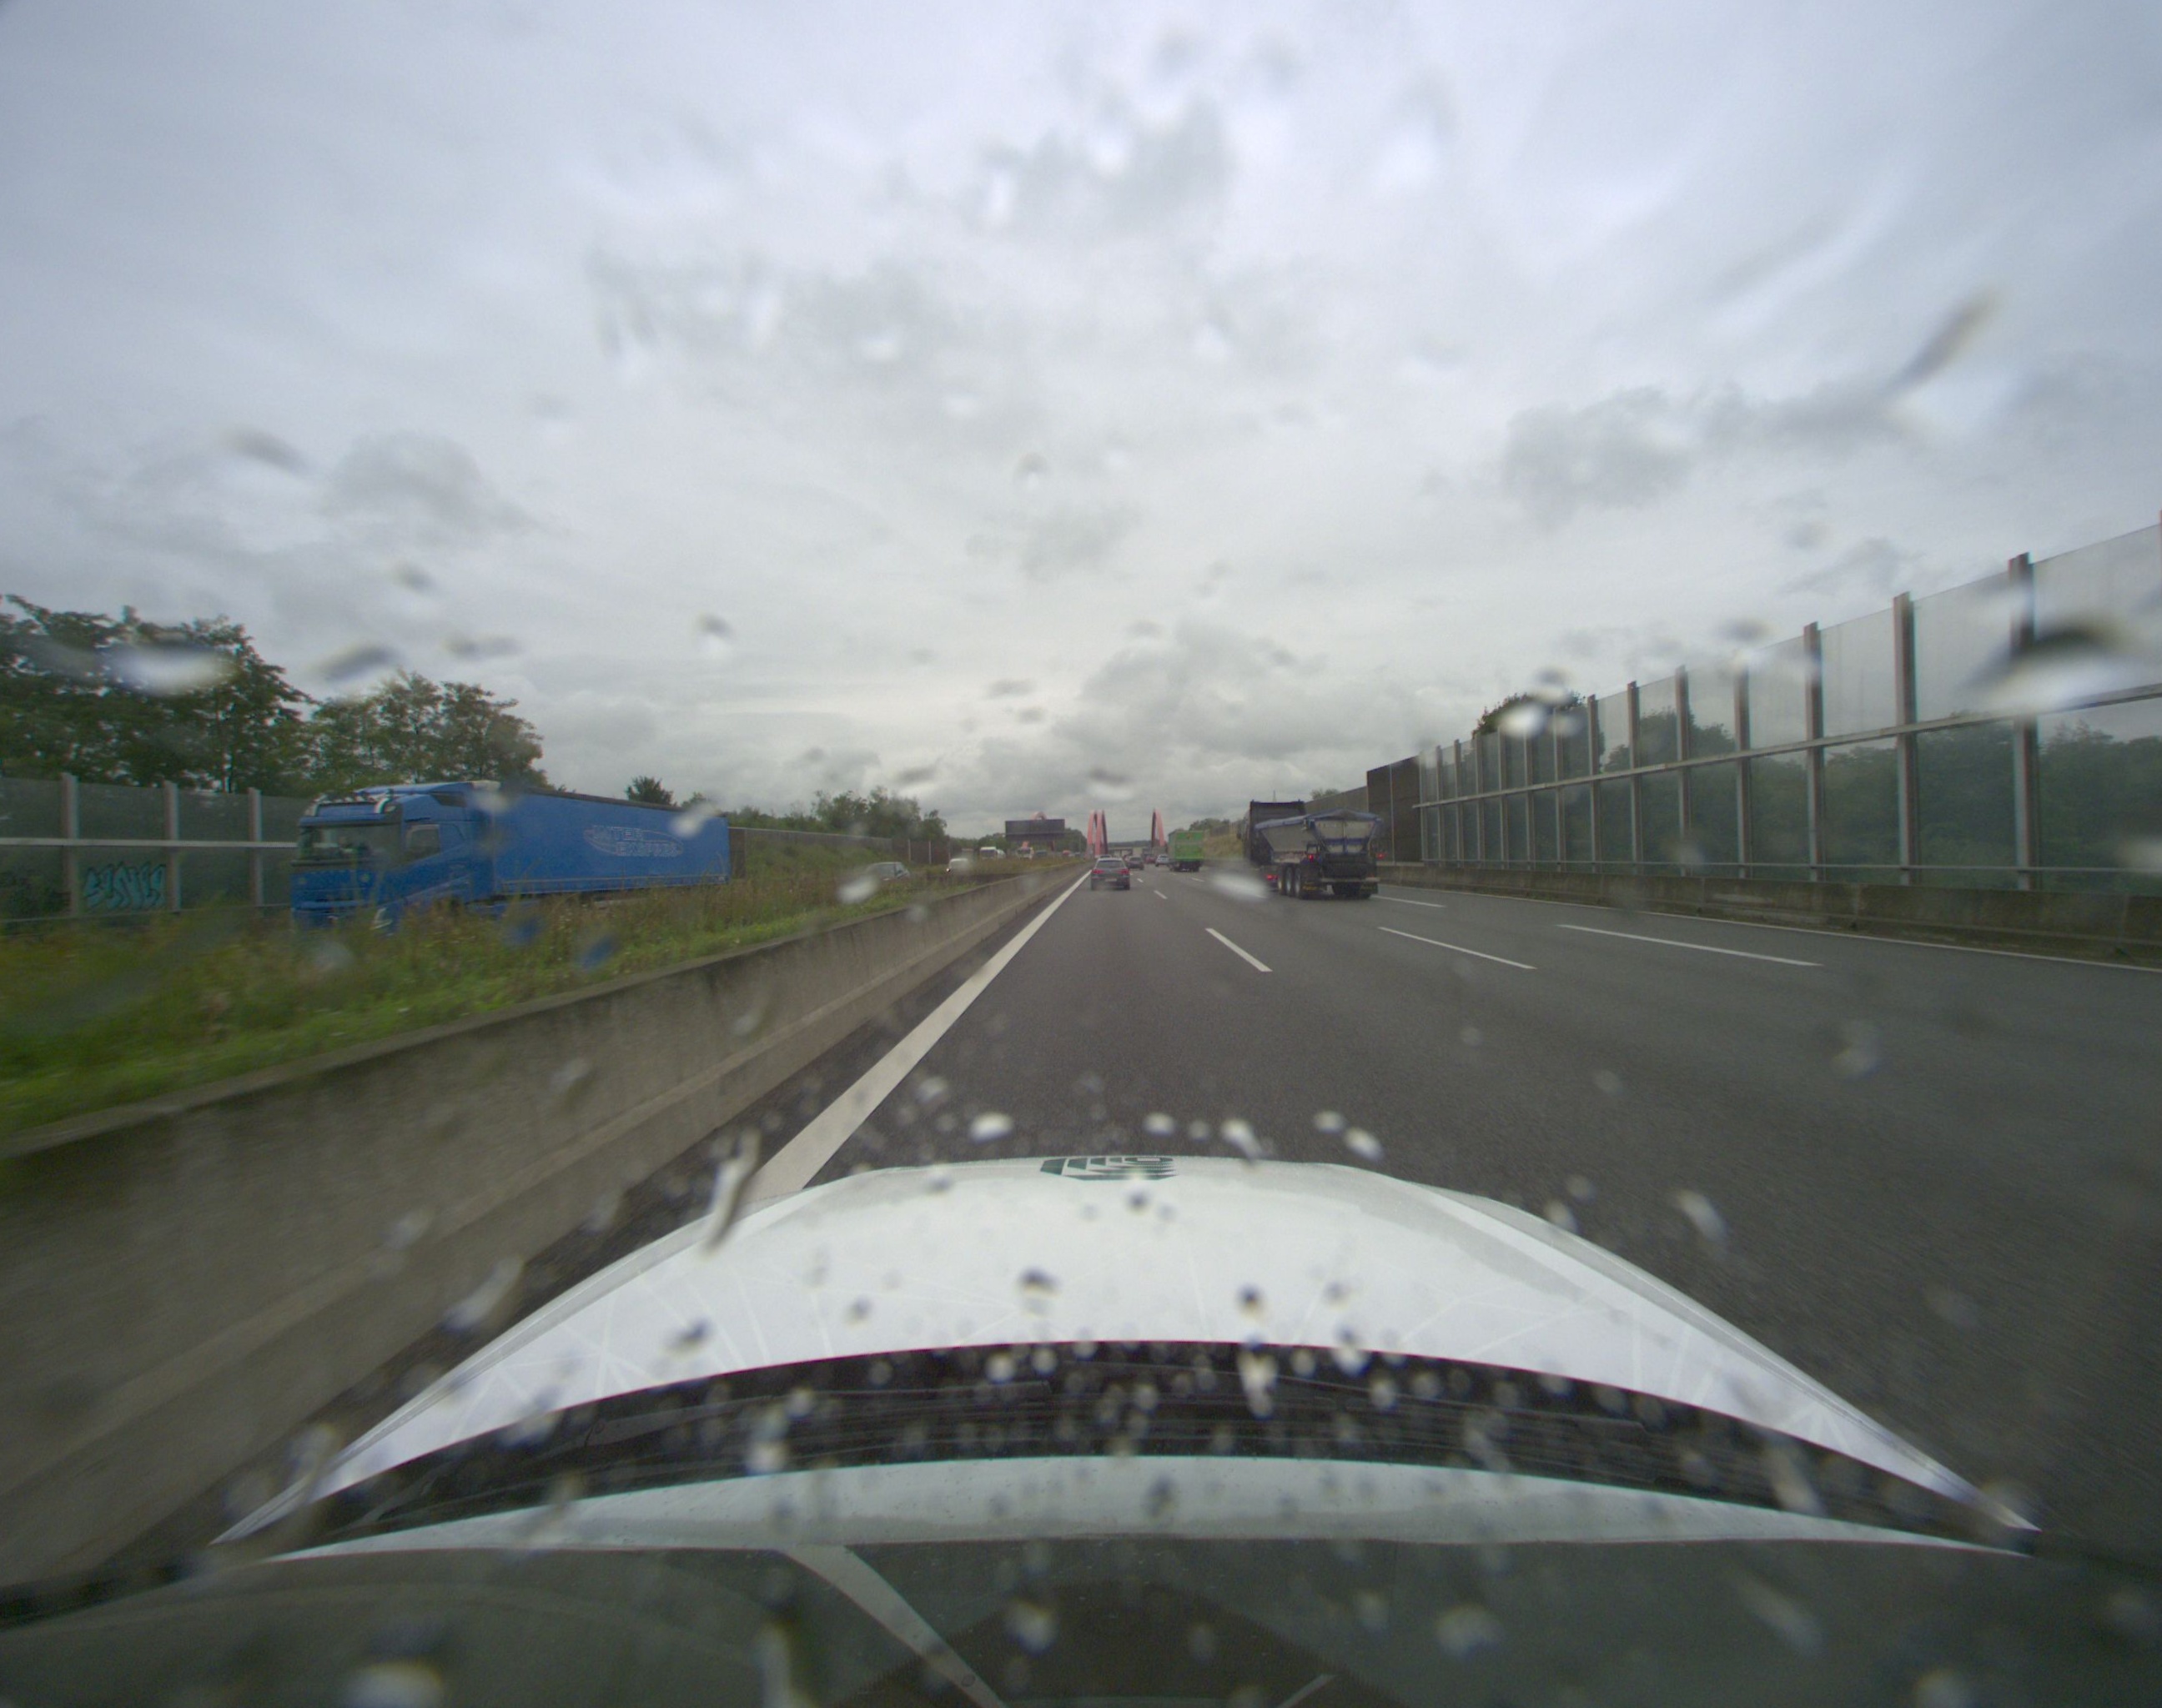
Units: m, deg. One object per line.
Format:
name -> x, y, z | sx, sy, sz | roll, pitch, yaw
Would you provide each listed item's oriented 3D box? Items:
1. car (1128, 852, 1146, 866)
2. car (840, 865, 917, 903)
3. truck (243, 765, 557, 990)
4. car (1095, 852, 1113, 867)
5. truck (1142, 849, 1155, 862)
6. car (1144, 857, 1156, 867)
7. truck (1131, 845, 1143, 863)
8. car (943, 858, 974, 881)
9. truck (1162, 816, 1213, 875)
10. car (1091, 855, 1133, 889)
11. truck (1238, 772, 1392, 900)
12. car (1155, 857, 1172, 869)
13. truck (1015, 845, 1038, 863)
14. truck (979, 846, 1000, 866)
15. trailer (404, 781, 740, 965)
car -> 5.808, 0.481, 85.019 | 1.775, 1.406, 3.628 | -1, 0, 2
car -> -9.018, 1.287, 36.731 | 1.985, 1.519, 4.823 | -1, 0, 3
truck -> -16.464, 0.509, 20.318 | 3.177, 4.858, 5.419 | 0, 0, 1
car -> 2.540, 0.599, 90.428 | 1.986, 1.585, 4.001 | -2, 0, 1
truck -> 13.114, 0.298, 159.361 | 2.351, 2.506, 6.148 | 0, 0, 3
car -> 12.100, 1.388, 143.553 | 1.950, 1.647, 4.002 | 0, 0, 2
truck -> 15.294, 0.094, 221.362 | 3.032, 4.734, 7.685 | 0, 0, 3
car -> -11.051, 1.363, 73.790 | 1.986, 2.013, 4.199 | -1, 0, 2
truck -> 10.086, -0.758, 78.615 | 3.981, 5.266, 11.227 | 0, 0, 3
car -> 1.430, 0.774, 36.936 | 1.756, 1.453, 4.003 | 0, 0, 3
truck -> 8.578, -0.534, 32.011 | 2.801, 3.950, 12.721 | -2, 0, 2
car -> 11.350, 1.246, 112.629 | 1.986, 1.619, 5.330 | 0, 0, 2
truck -> -9.315, -0.002, 139.557 | 2.944, 3.067, 8.731 | 0, 0, 2
truck -> -13.891, 0.323, 123.792 | 2.613, 3.019, 5.611 | 0, 0, -1
trailer -> -16.369, 0.536, 28.441 | 3.206, 4.885, 13.525 | 0, 0, 0
